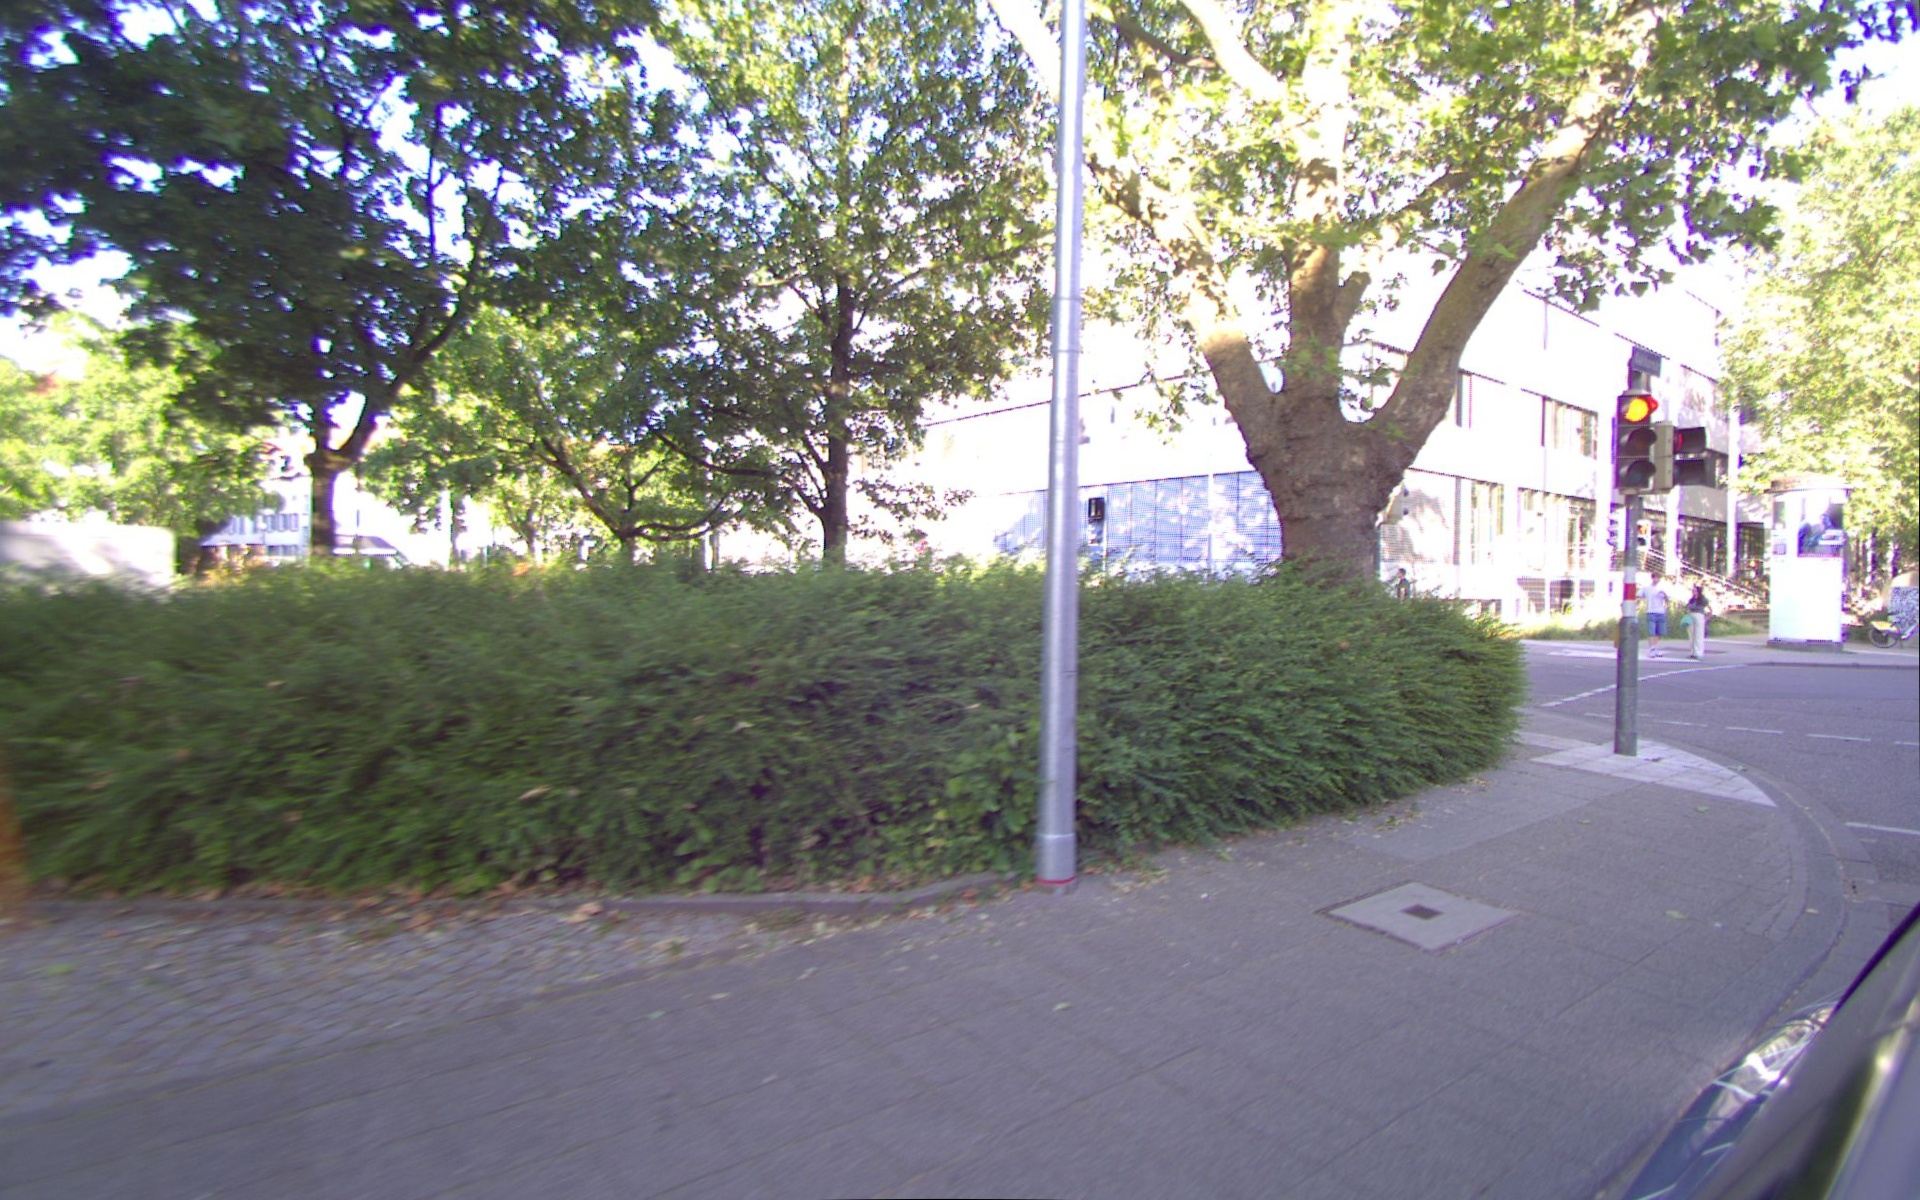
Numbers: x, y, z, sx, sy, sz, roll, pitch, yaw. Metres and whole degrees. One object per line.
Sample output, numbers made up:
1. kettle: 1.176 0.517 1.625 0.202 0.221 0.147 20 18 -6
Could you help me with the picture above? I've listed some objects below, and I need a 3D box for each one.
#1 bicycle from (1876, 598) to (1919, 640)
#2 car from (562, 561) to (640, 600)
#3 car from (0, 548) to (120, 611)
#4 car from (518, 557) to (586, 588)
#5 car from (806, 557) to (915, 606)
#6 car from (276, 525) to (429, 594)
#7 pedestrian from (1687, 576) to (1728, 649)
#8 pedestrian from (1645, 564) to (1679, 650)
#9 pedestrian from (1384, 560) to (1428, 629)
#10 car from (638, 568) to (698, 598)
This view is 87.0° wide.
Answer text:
1. bicycle: 25.099 0.518 26.407 1.620 1.011 0.617 3 4 26
2. car: -25.824 -1.366 72.967 1.989 2.651 5.050 4 2 37
3. car: -31.713 -0.700 34.870 4.235 2.115 1.785 0 1 -41
4. car: -26.003 -1.760 64.381 4.895 1.808 2.059 4 3 42
5. car: -4.104 -0.789 41.058 2.072 1.851 4.713 0 2 -41
6. car: -24.484 -1.570 40.894 5.069 2.604 1.997 0 1 -41
7. pedestrian: 16.069 0.259 21.766 0.670 1.543 0.553 1 1 39
8. pedestrian: 15.495 0.146 22.330 0.600 1.862 0.562 1 0 36
9. pedestrian: 11.805 -0.151 26.814 0.983 1.794 0.601 1 -2 20
10. car: -15.448 -0.905 53.410 1.602 1.503 3.845 0 2 -41
